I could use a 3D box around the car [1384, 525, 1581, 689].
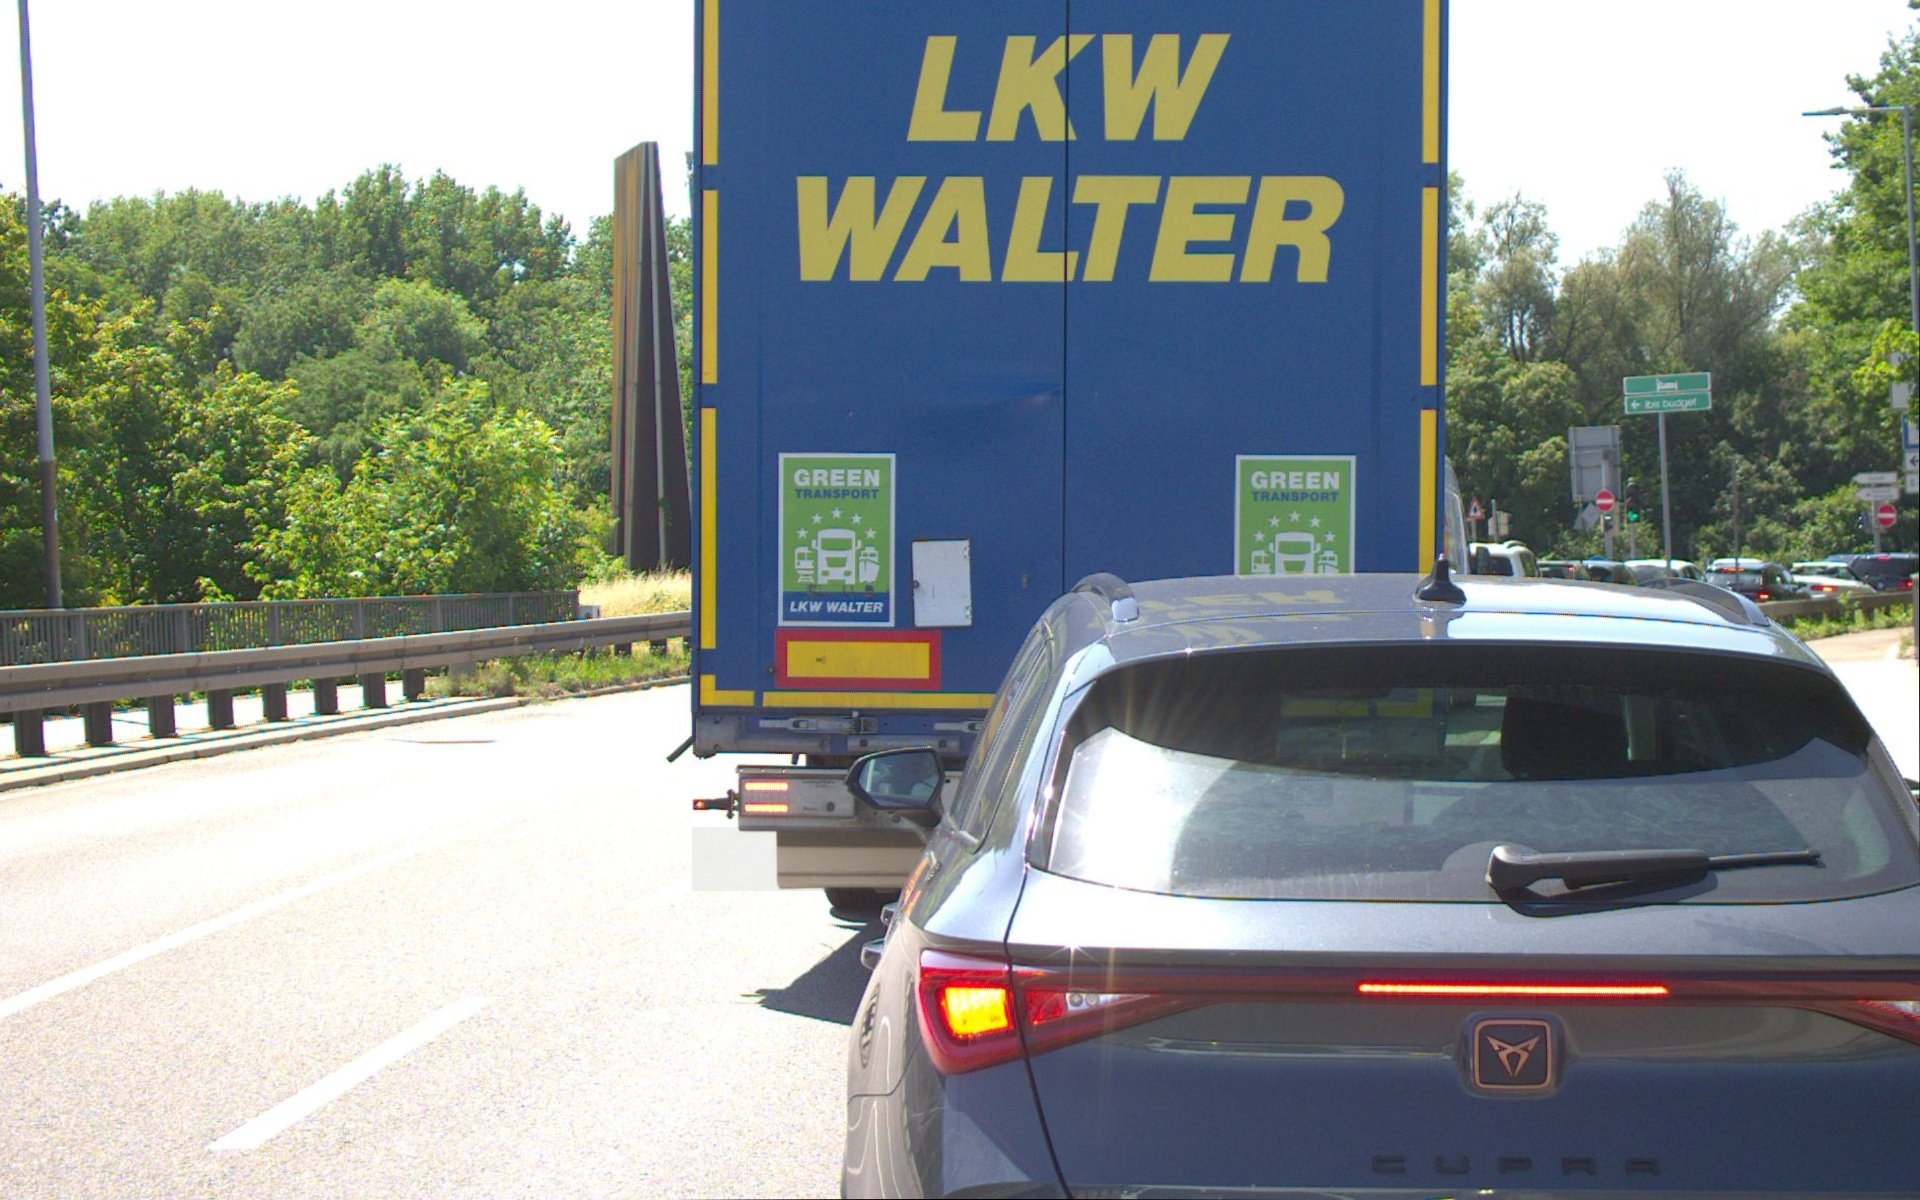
[{"bbox_3d":[6.280,0.029,41.003,1.722,1.837,3.997,0,2,18],"label":"car"}]

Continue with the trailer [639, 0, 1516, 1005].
[{"bbox_3d":[1.141,-1.001,17.564,2.905,4.403,12.430,0,1,7],"label":"trailer"}]

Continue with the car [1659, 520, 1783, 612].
[{"bbox_3d":[15.115,-0.662,68.161,1.687,1.754,3.995,0,0,23],"label":"car"}]

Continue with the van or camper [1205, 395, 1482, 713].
[{"bbox_3d":[3.868,-0.467,33.620,2.155,2.806,6.384,0,1,11],"label":"van or camper"}]

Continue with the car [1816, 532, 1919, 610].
[{"bbox_3d":[21.355,-0.668,80.371,1.688,1.754,3.994,0,0,28],"label":"car"}]

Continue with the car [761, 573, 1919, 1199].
[{"bbox_3d":[0.669,0.694,5.949,1.677,1.451,3.958,0,1,2],"label":"car"}]

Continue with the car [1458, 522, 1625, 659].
[{"bbox_3d":[8.041,-0.164,47.320,1.722,1.796,3.997,0,1,18],"label":"car"}]

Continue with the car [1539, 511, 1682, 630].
[{"bbox_3d":[10.504,-0.496,55.375,1.722,1.837,3.996,0,1,19],"label":"car"}]

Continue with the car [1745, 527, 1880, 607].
[{"bbox_3d":[18.478,-0.699,74.402,1.996,1.570,3.994,2,0,26],"label":"car"}]

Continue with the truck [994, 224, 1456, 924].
[{"bbox_3d":[2.083,-0.231,25.055,2.905,4.403,6.554,0,1,7],"label":"truck"}]

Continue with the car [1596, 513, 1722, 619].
[{"bbox_3d":[12.534,-0.631,61.509,1.722,1.837,3.996,0,1,19],"label":"car"}]
